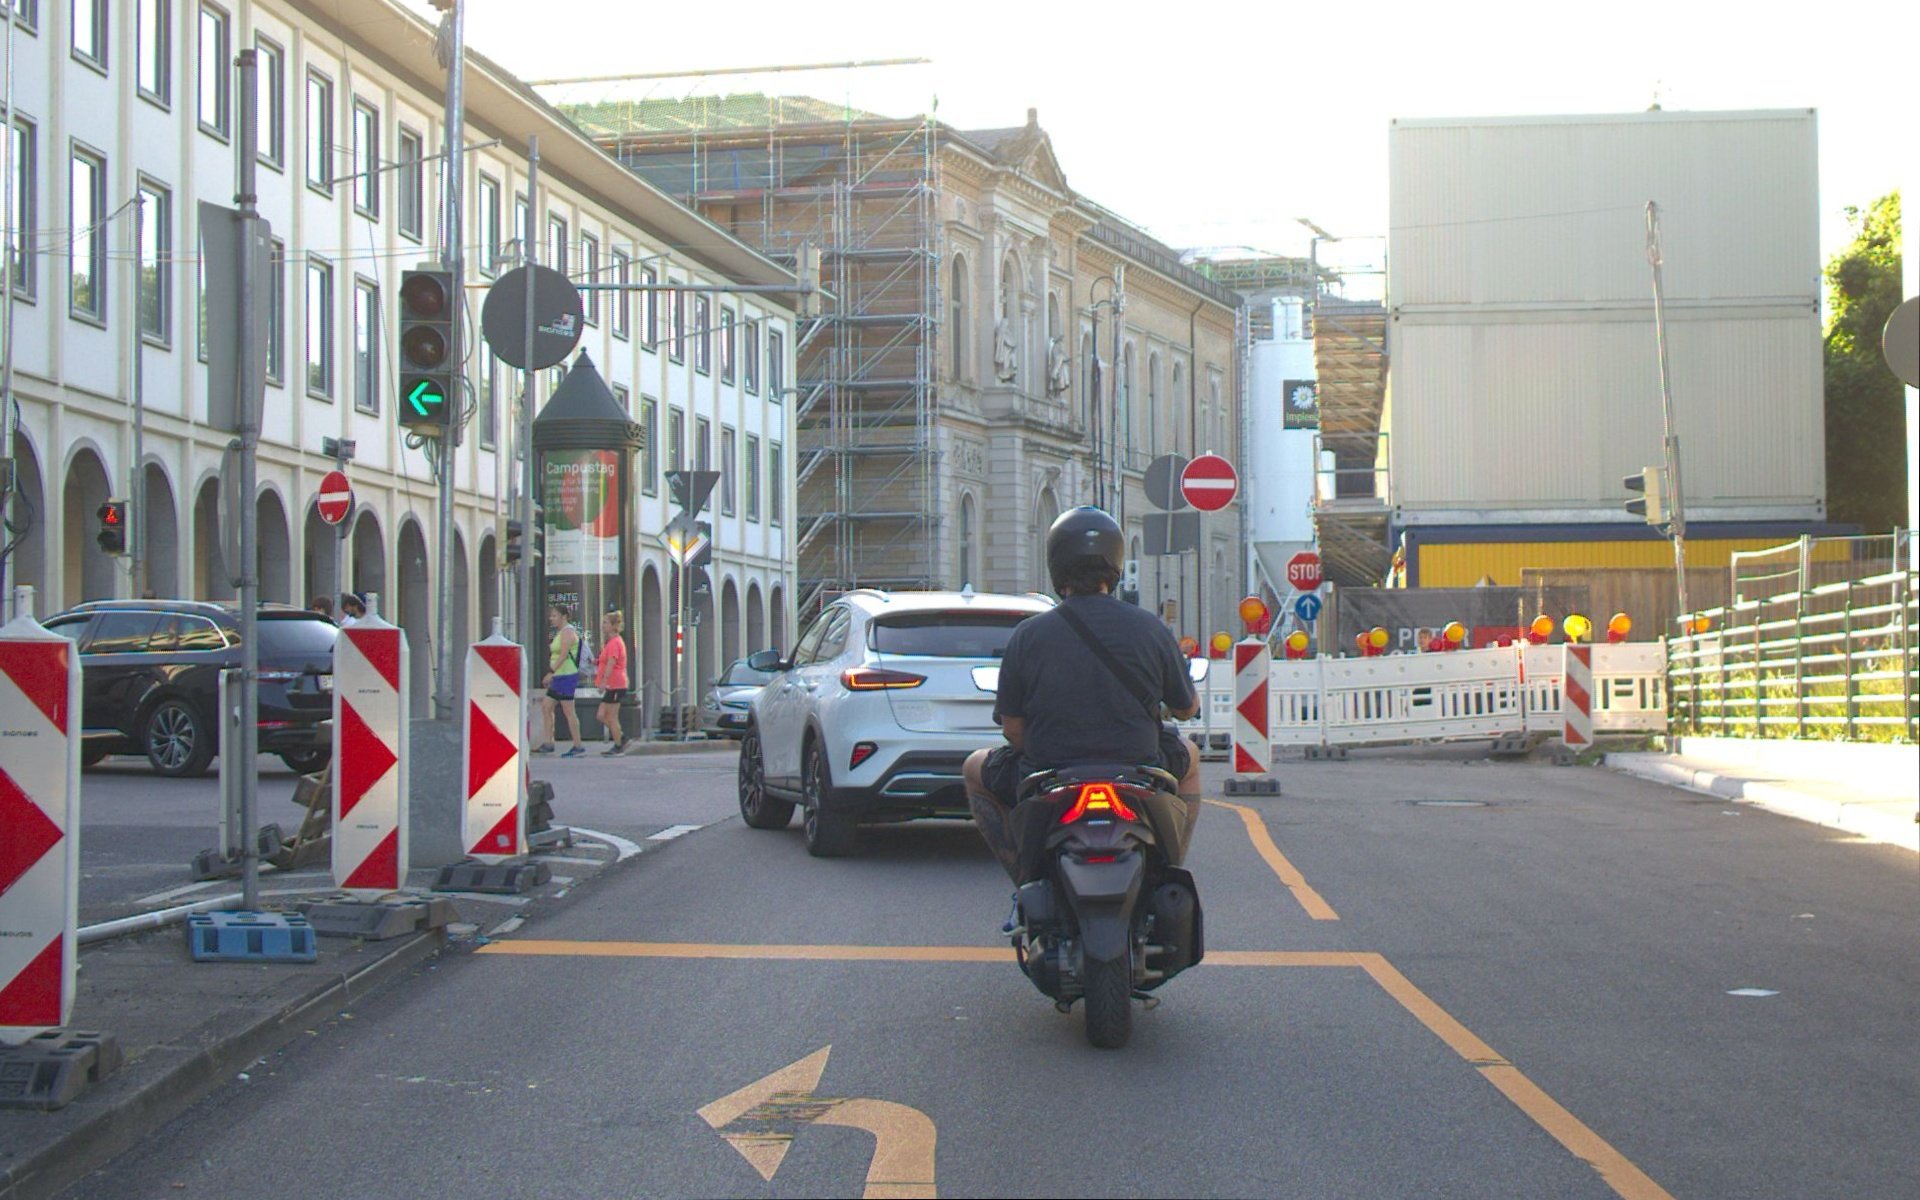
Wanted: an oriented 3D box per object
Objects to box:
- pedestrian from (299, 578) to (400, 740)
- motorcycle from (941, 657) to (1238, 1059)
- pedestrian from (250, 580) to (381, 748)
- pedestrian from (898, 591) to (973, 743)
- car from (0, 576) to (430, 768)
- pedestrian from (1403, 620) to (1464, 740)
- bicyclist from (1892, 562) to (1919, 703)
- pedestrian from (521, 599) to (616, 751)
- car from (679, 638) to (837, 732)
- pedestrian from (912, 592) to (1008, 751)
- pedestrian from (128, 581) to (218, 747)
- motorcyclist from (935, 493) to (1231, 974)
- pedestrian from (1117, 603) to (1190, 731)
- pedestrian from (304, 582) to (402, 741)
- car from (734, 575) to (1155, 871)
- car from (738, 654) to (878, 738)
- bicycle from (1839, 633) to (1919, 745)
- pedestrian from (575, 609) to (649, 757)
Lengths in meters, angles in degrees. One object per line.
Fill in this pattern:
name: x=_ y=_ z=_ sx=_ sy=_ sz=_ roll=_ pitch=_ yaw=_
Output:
pedestrian: x=-6.790 y=0.649 z=38.245 sx=0.938 sy=1.771 sz=0.711 roll=0 pitch=1 yaw=4
motorcycle: x=0.421 y=0.809 z=11.790 sx=0.906 sy=1.179 sz=2.578 roll=0 pitch=0 yaw=1
pedestrian: x=-7.023 y=0.689 z=37.494 sx=1.243 sy=1.795 sz=0.716 roll=0 pitch=1 yaw=4
pedestrian: x=-0.276 y=0.764 z=39.365 sx=0.737 sy=1.710 sz=0.621 roll=-2 pitch=-1 yaw=7
car: x=-6.703 y=0.612 z=29.482 sx=4.100 sy=1.545 sz=1.776 roll=-1 pitch=-1 yaw=32
pedestrian: x=5.240 y=0.884 z=38.063 sx=0.618 sy=1.295 sz=0.493 roll=2 pitch=-1 yaw=7
bicyclist: x=10.444 y=0.354 z=36.955 sx=0.702 sy=1.511 sz=0.686 roll=0 pitch=-2 yaw=5
pedestrian: x=-4.463 y=0.846 z=39.234 sx=0.965 sy=1.704 sz=0.675 roll=0 pitch=1 yaw=4
car: x=-3.417 y=1.477 z=58.898 sx=1.925 sy=1.461 sz=3.998 roll=1 pitch=-3 yaw=8
pedestrian: x=0.007 y=0.796 z=38.112 sx=0.974 sy=1.723 sz=0.798 roll=-2 pitch=-2 yaw=4
pedestrian: x=-8.660 y=0.693 z=37.846 sx=0.773 sy=1.795 sz=0.711 roll=0 pitch=1 yaw=4
motorcyclist: x=0.410 y=0.432 z=11.741 sx=0.954 sy=1.554 sz=1.239 roll=0 pitch=0 yaw=1
pedestrian: x=2.262 y=0.781 z=40.153 sx=0.768 sy=1.457 sz=0.665 roll=-2 pitch=-1 yaw=7
pedestrian: x=-6.870 y=0.688 z=38.933 sx=0.938 sy=1.771 sz=0.711 roll=0 pitch=1 yaw=4
car: x=-0.203 y=0.647 z=20.269 sx=1.858 sy=1.467 sz=4.001 roll=1 pitch=1 yaw=-9
car: x=-2.855 y=1.845 z=65.344 sx=1.925 sy=1.461 sz=3.998 roll=1 pitch=-3 yaw=8
bicycle: x=10.492 y=0.955 z=36.893 sx=1.993 sy=1.197 sz=0.477 roll=0 pitch=-2 yaw=7
pedestrian: x=-3.864 y=0.915 z=38.225 sx=0.725 sy=1.619 sz=0.620 roll=0 pitch=1 yaw=4
